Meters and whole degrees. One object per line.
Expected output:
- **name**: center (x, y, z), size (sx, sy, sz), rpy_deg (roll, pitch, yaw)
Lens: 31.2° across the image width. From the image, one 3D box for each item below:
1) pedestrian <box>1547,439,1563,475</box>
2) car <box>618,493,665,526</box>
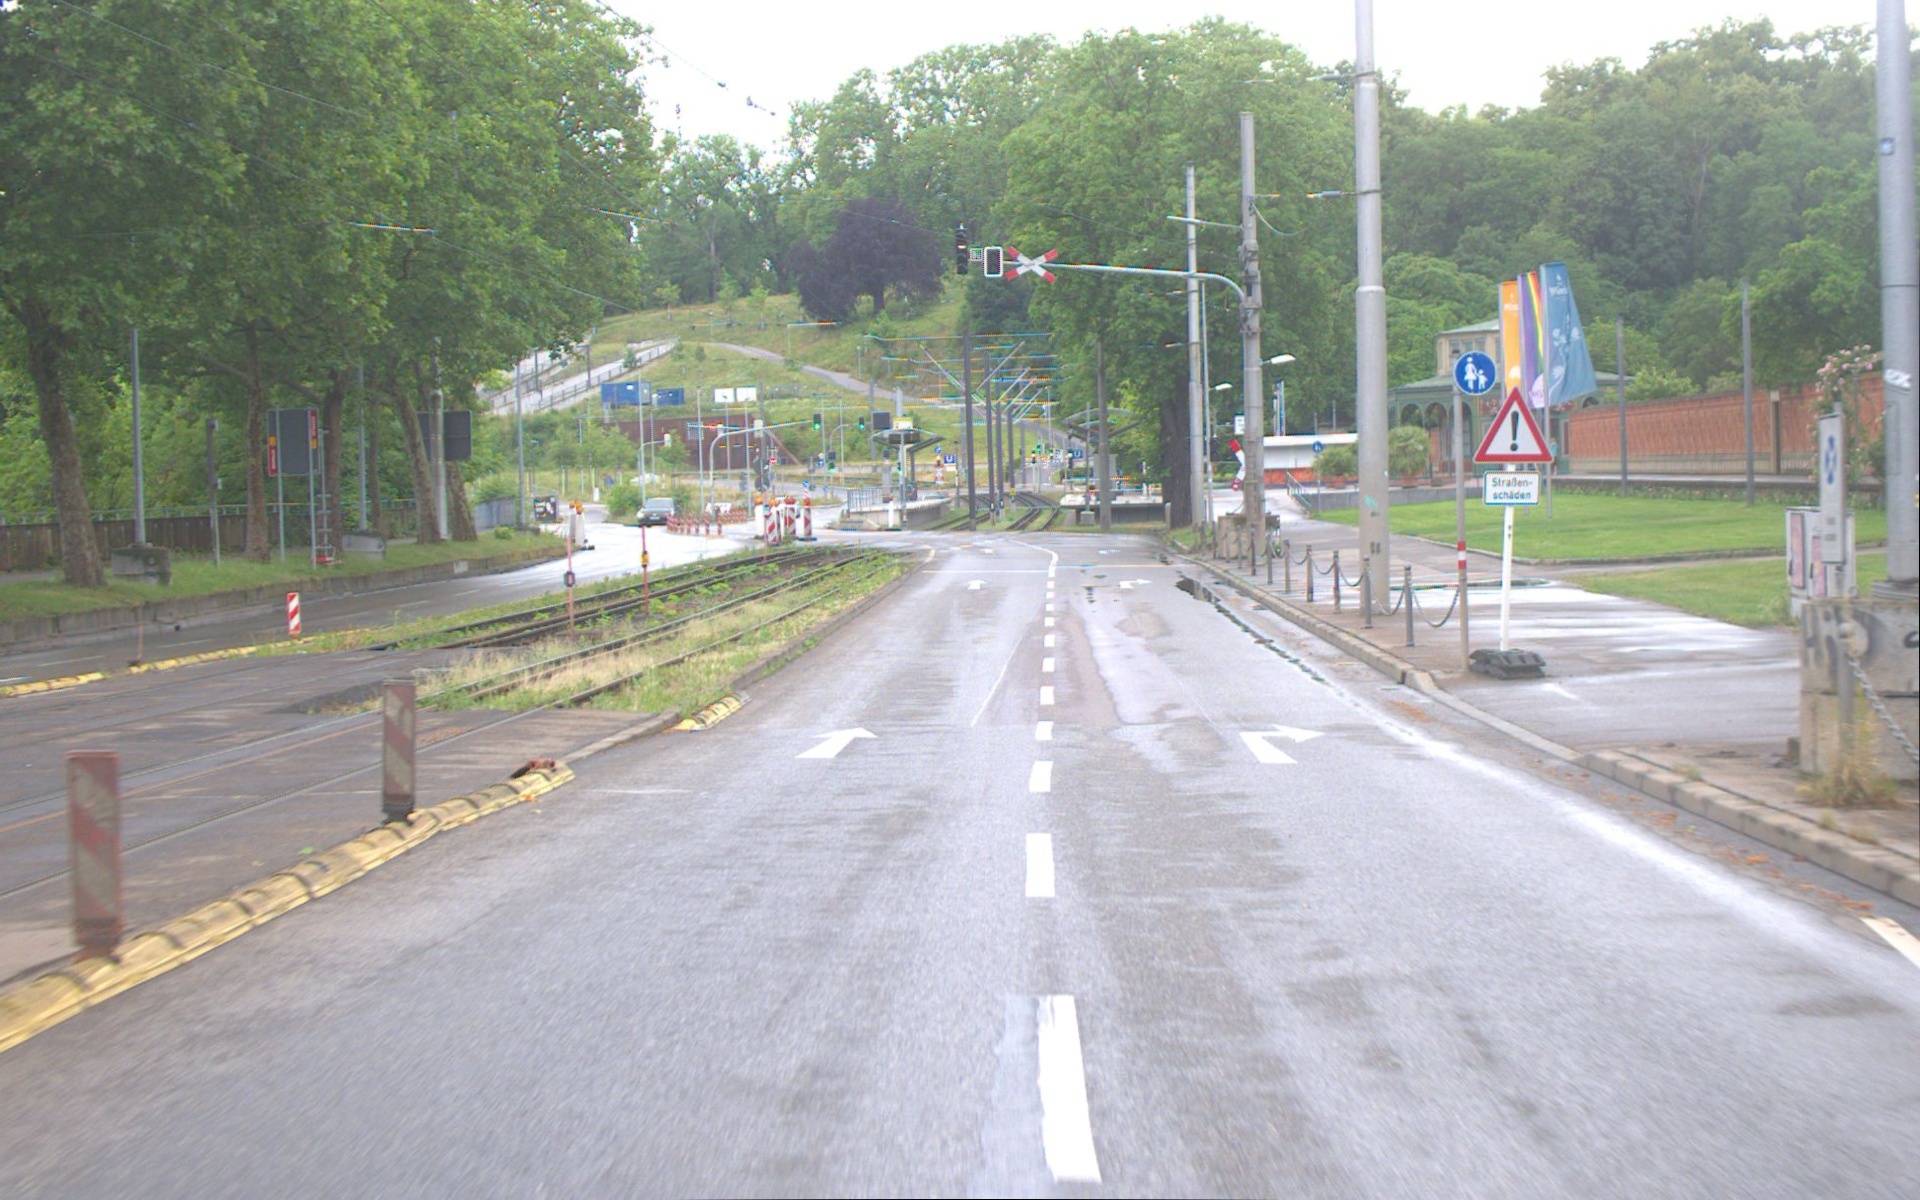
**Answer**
- **pedestrian**: center (27.154, -6.526, 156.882), size (0.551, 1.651, 0.468), rpy_deg (0, 1, 37)
- **car**: center (-15.349, -4.373, 165.920), size (1.746, 1.425, 4.561), rpy_deg (-3, 2, 1)
